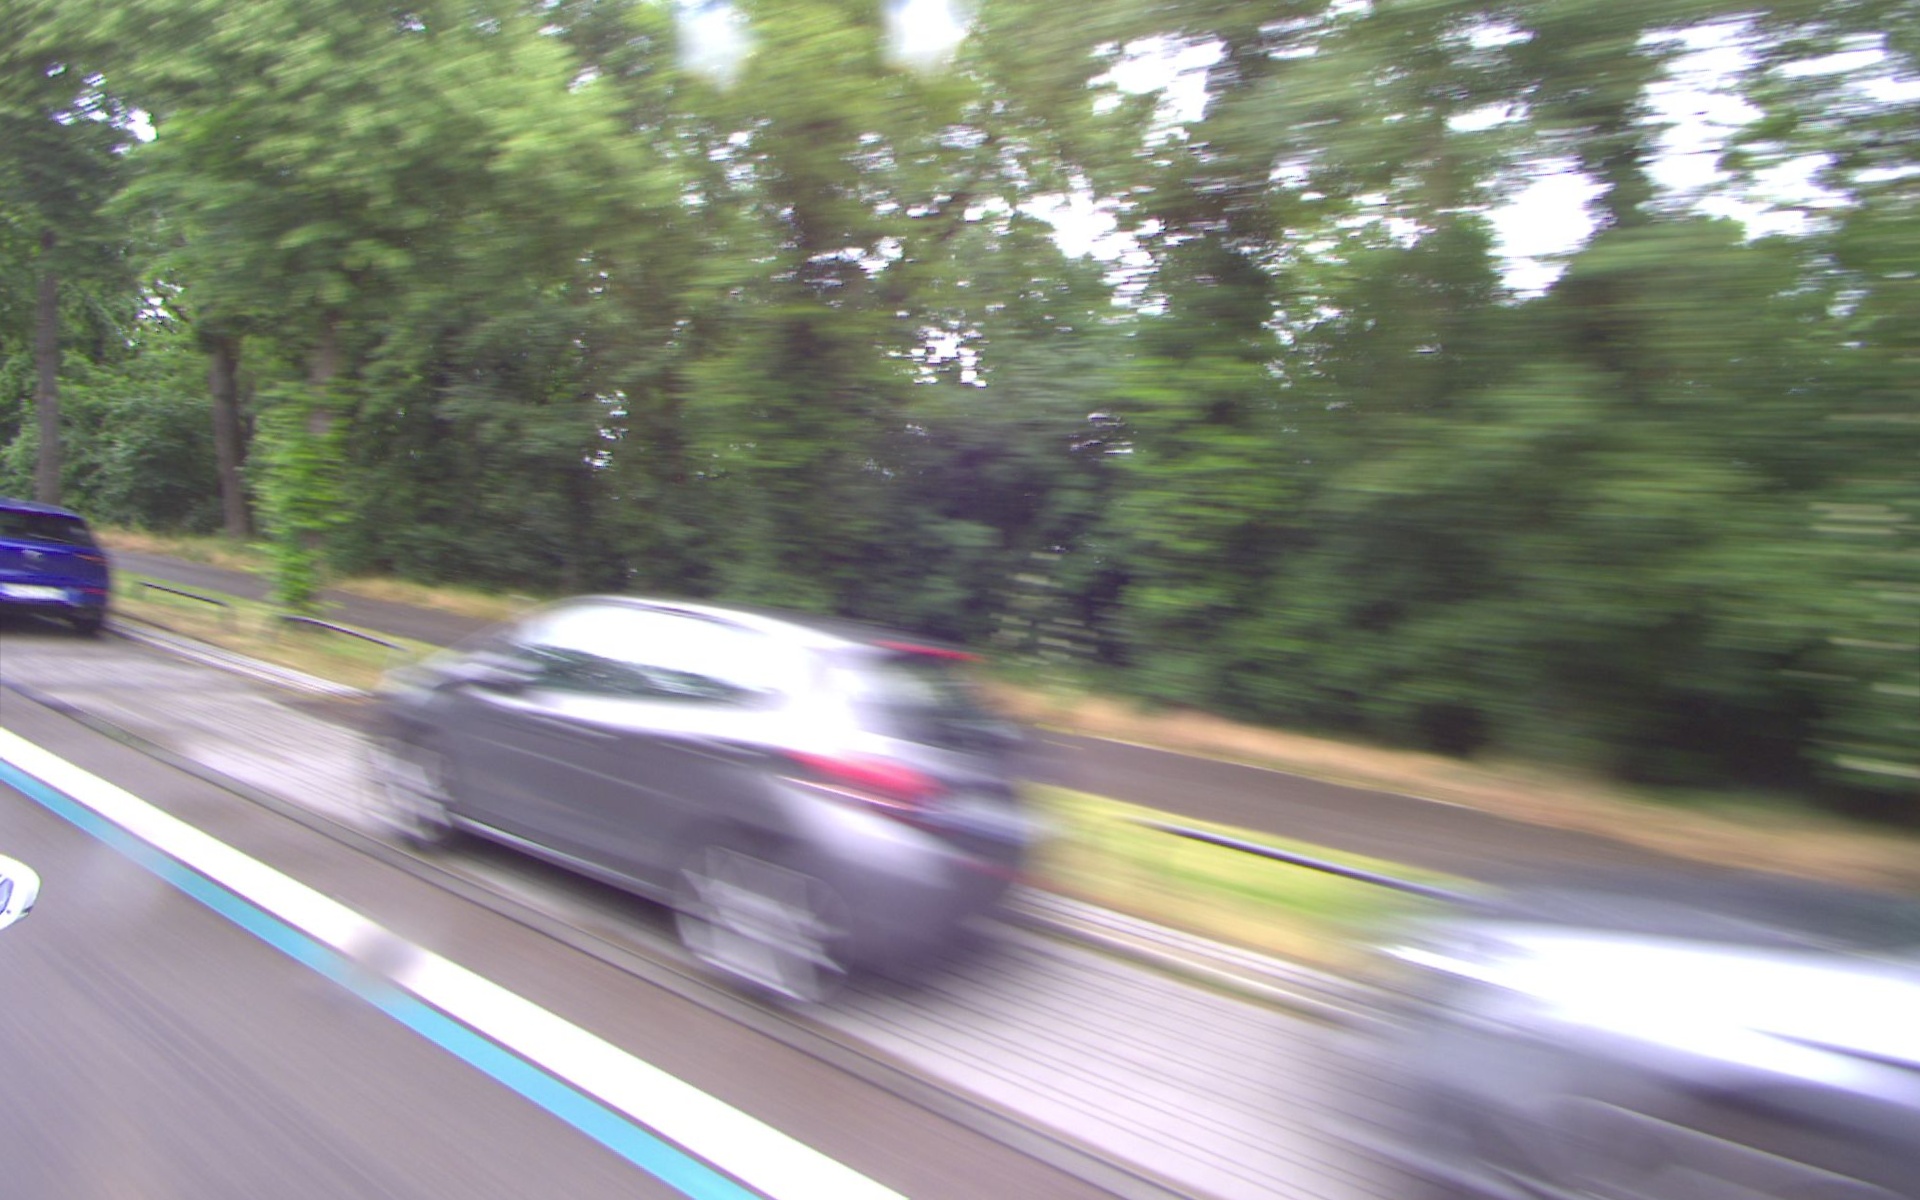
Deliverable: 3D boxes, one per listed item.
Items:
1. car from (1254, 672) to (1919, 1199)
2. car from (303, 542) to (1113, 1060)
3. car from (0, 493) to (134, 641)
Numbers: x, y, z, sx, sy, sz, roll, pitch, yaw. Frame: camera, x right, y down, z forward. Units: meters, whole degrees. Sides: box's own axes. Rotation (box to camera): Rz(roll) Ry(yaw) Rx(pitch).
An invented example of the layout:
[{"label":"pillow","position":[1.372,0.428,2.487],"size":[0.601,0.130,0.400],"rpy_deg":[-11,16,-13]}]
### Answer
[{"label":"car","position":[3.174,1.212,2.335],"size":[4.355,1.468,1.798],"rpy_deg":[7,0,32]},{"label":"car","position":[-1.439,0.691,5.123],"size":[3.935,1.487,1.618],"rpy_deg":[7,-2,33]},{"label":"car","position":[-11.801,-0.573,11.963],"size":[4.247,1.499,1.685],"rpy_deg":[7,-1,32]}]
